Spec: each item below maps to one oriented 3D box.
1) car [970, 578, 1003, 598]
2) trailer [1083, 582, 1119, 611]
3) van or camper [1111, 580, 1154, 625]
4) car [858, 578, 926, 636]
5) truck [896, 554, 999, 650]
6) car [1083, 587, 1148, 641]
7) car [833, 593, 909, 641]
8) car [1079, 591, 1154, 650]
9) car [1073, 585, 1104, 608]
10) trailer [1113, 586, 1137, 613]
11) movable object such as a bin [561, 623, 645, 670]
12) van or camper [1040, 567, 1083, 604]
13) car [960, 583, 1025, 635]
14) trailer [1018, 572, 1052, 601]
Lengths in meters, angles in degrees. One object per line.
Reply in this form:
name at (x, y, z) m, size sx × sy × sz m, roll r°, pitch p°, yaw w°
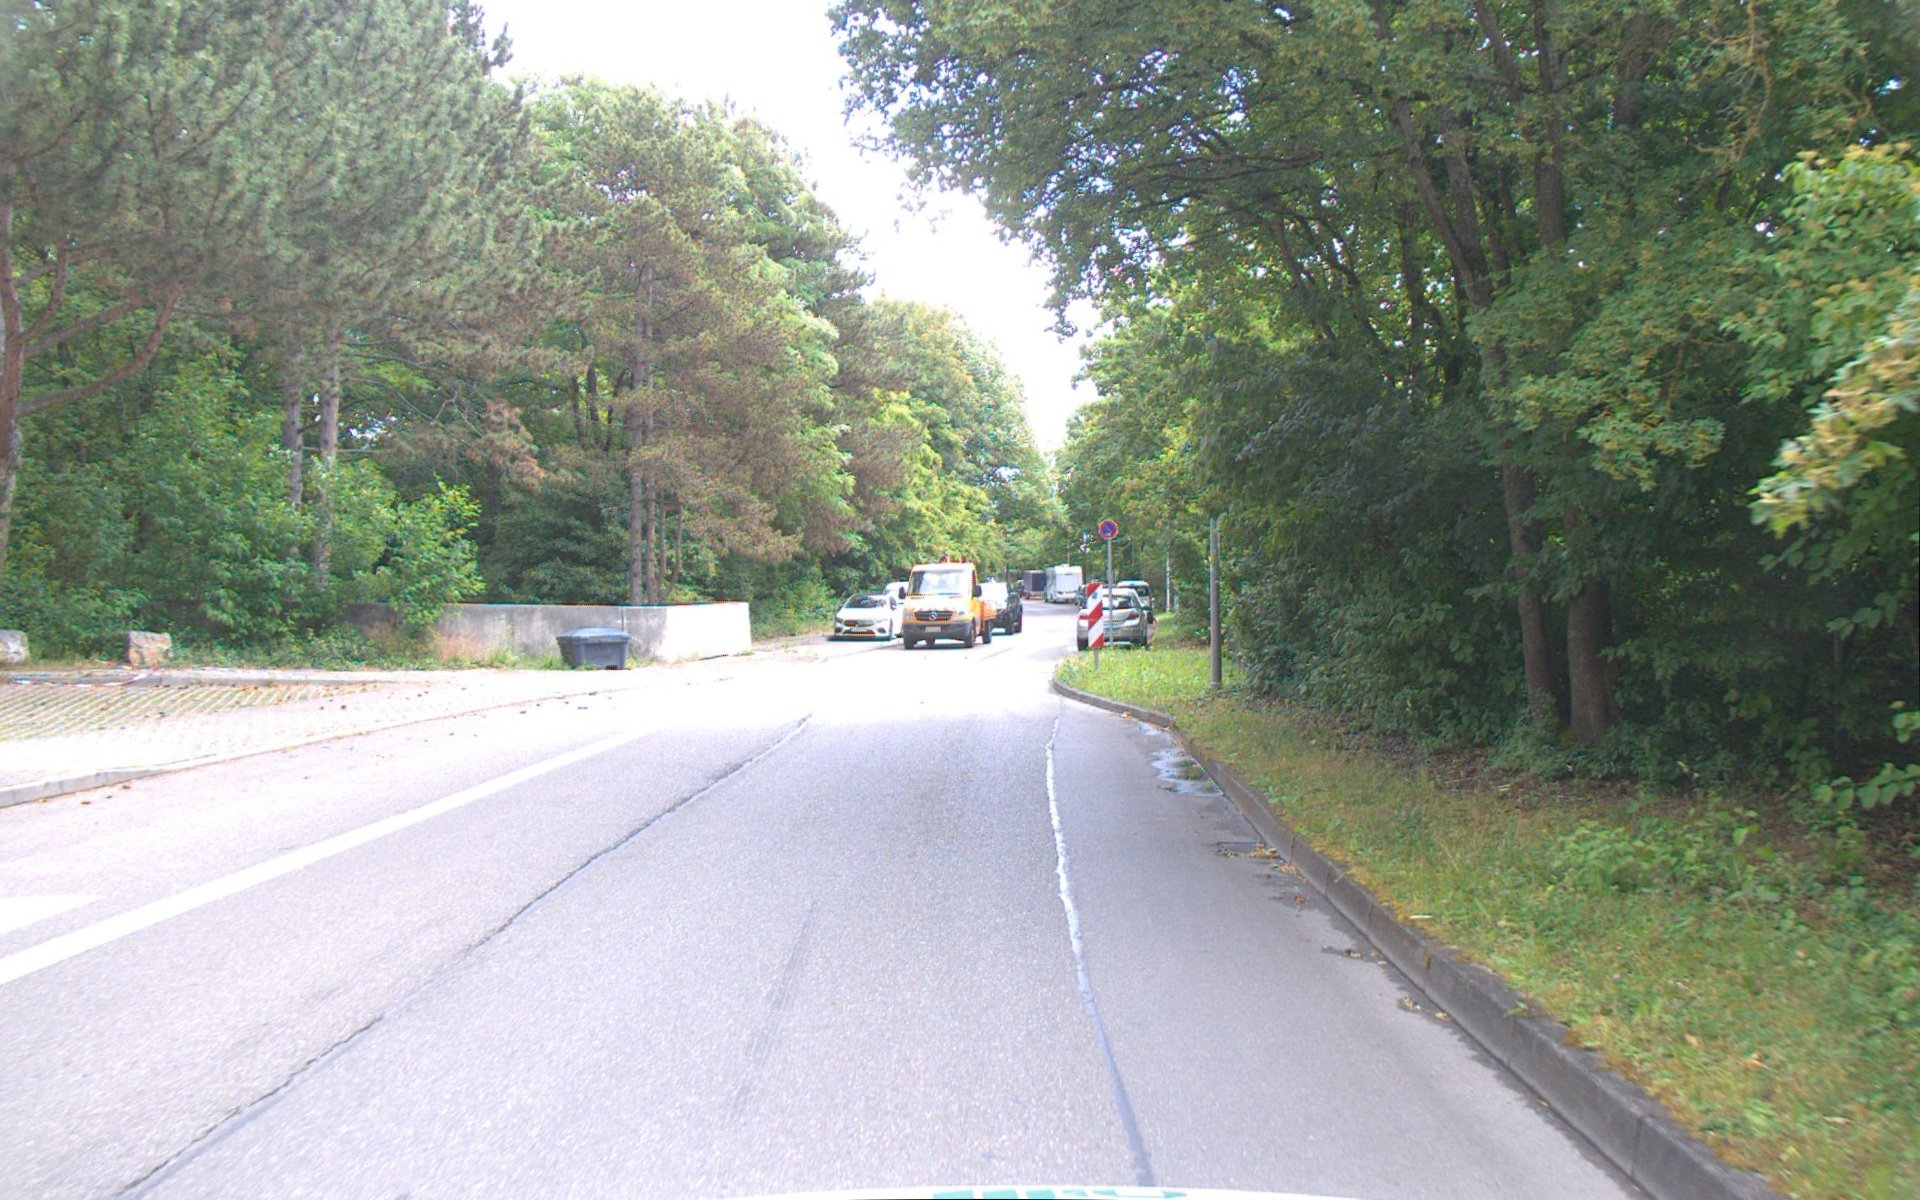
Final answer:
car at (2.570, -1.193, 163.146) m, size 2.004 × 1.835 × 4.061 m, roll -2°, pitch 1°, yaw -19°
trailer at (9.720, -0.293, 114.211) m, size 1.939 × 1.843 × 5.148 m, roll -2°, pitch 1°, yaw -1°
van or camper at (7.477, 0.128, 71.716) m, size 1.764 × 1.870 × 4.323 m, roll -1°, pitch -1°, yaw 6°
car at (-2.399, 0.224, 59.225) m, size 1.684 × 1.955 × 4.108 m, roll 1°, pitch 1°, yaw 8°
truck at (-0.268, 0.005, 47.071) m, size 2.273 × 2.513 × 6.025 m, roll 1°, pitch 1°, yaw 6°
car at (4.773, 0.391, 50.444) m, size 1.846 × 1.533 × 5.180 m, roll -1°, pitch 0°, yaw 6°
car at (-2.774, 0.512, 52.517) m, size 1.767 × 1.427 × 4.375 m, roll 1°, pitch 1°, yaw 6°
car at (4.104, 0.503, 43.020) m, size 1.754 × 1.435 × 4.062 m, roll -1°, pitch 0°, yaw 8°
car at (9.579, -0.260, 123.588) m, size 1.764 × 1.589 × 3.833 m, roll -2°, pitch 1°, yaw -3°
trailer at (10.115, -0.022, 101.568) m, size 1.252 × 1.612 × 2.461 m, roll -1°, pitch 0°, yaw 2°
movable object such as a bin at (-6.177, 0.805, 28.600) m, size 1.132 × 0.773 × 1.038 m, roll 2°, pitch -1°, yaw -31°
van or camper at (8.196, -1.168, 134.027) m, size 2.434 × 2.926 × 6.882 m, roll -1°, pitch 0°, yaw -5°
car at (1.225, 0.288, 59.719) m, size 1.951 × 1.766 × 5.340 m, roll -1°, pitch 0°, yaw 5°
trailer at (6.539, -1.214, 144.681) m, size 1.959 × 2.440 × 3.987 m, roll -1°, pitch 1°, yaw -13°
